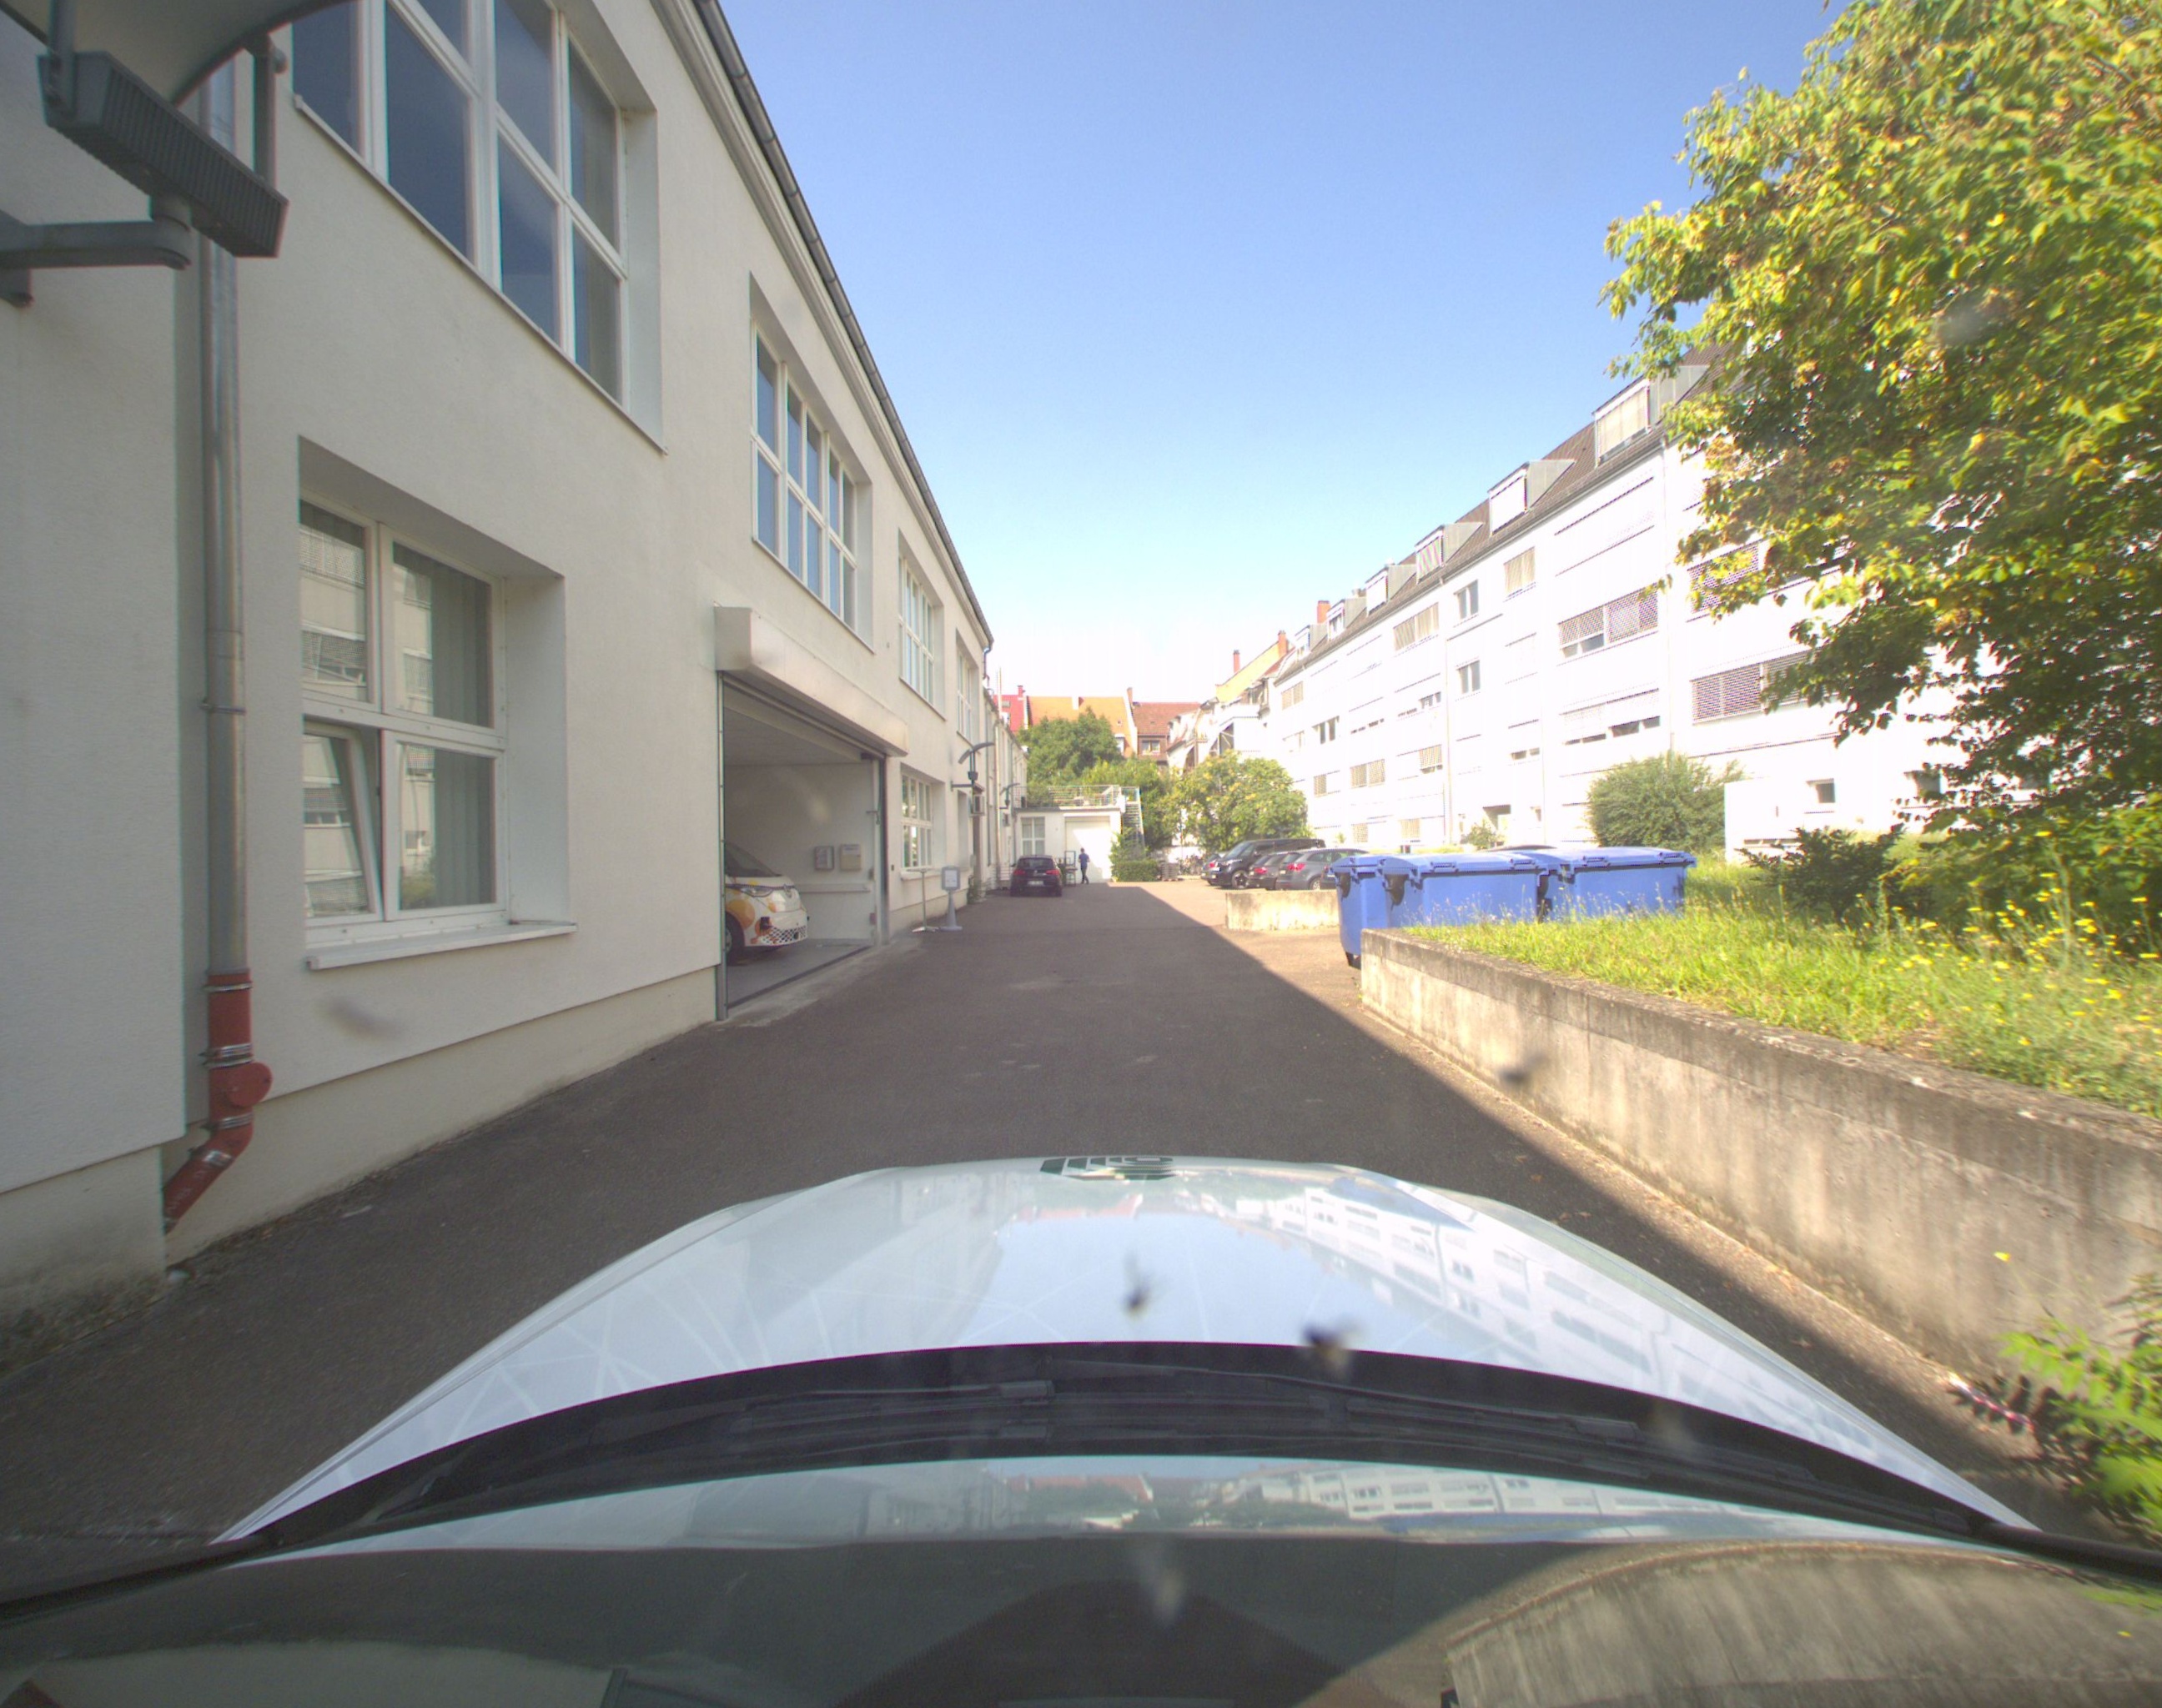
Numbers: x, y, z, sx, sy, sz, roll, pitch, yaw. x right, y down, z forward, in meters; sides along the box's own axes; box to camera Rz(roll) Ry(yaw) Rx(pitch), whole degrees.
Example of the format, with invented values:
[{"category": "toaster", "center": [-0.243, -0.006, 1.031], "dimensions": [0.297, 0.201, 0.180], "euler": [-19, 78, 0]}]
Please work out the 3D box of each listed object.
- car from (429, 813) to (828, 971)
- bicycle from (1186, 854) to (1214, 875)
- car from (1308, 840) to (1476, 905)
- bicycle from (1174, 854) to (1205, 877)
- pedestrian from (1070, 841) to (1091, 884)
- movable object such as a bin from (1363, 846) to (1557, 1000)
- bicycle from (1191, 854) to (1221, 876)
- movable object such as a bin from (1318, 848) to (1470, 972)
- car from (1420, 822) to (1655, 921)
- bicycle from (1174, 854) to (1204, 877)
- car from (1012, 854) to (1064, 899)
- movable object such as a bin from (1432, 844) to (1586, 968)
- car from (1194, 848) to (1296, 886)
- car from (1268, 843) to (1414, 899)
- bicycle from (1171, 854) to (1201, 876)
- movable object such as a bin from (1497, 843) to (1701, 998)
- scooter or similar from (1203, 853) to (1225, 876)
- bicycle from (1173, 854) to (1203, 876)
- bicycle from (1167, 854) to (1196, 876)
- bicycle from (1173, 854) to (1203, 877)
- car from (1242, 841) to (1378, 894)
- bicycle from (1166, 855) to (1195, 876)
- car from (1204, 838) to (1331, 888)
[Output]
[{"category": "car", "center": [-6.458, 0.527, 12.082], "dimensions": [4.731, 2.093, 2.055], "euler": [-1, -1, 0]}, {"category": "bicycle", "center": [7.190, 0.655, 49.135], "dimensions": [1.612, 1.214, 0.425], "euler": [-2, 0, 12]}, {"category": "car", "center": [8.304, 0.477, 21.908], "dimensions": [3.798, 1.589, 1.891], "euler": [-1, -1, -10]}, {"category": "bicycle", "center": [6.129, 0.641, 46.026], "dimensions": [1.617, 1.214, 0.327], "euler": [-2, 0, 1]}, {"category": "pedestrian", "center": [-0.018, 0.405, 39.149], "dimensions": [0.910, 2.014, 0.935], "euler": [-1, -1, 0]}, {"category": "movable object such as a bin", "center": [3.560, 0.617, 7.786], "dimensions": [1.306, 1.340, 1.099], "euler": [-1, -1, -3]}, {"category": "bicycle", "center": [7.143, 0.628, 46.673], "dimensions": [1.611, 1.214, 0.328], "euler": [-2, 0, 15]}, {"category": "movable object such as a bin", "center": [3.615, 0.617, 9.539], "dimensions": [1.296, 1.340, 1.194], "euler": [-1, -1, -1]}, {"category": "car", "center": [9.048, 0.345, 16.353], "dimensions": [3.609, 1.545, 1.801], "euler": [-5, -1, -2]}, {"category": "bicycle", "center": [6.059, 0.638, 45.705], "dimensions": [1.617, 1.214, 0.327], "euler": [-2, 0, 1]}, {"category": "car", "center": [-1.452, 0.775, 28.969], "dimensions": [1.683, 1.459, 3.921], "euler": [-1, -1, -1]}, {"category": "movable object such as a bin", "center": [4.936, 0.575, 9.501], "dimensions": [1.229, 1.340, 1.118], "euler": [-1, -1, 4]}, {"category": "car", "center": [7.015, 0.551, 35.016], "dimensions": [3.931, 1.482, 1.769], "euler": [-2, -1, -9]}, {"category": "car", "center": [7.957, 0.509, 25.111], "dimensions": [3.856, 1.589, 1.876], "euler": [-1, -1, -5]}, {"category": "bicycle", "center": [6.069, 0.654, 47.135], "dimensions": [1.612, 1.214, 0.328], "euler": [-2, 0, 13]}, {"category": "movable object such as a bin", "center": [4.887, 0.592, 7.783], "dimensions": [1.224, 1.340, 1.075], "euler": [-1, -1, -4]}, {"category": "scooter or similar", "center": [7.410, 0.615, 45.478], "dimensions": [0.381, 1.261, 1.335], "euler": [-2, 0, -31]}, {"category": "bicycle", "center": [6.143, 0.649, 46.771], "dimensions": [1.613, 1.214, 0.328], "euler": [-2, 0, 10]}, {"category": "bicycle", "center": [5.889, 0.666, 47.811], "dimensions": [1.618, 1.214, 0.424], "euler": [-2, 0, -1]}, {"category": "bicycle", "center": [6.103, 0.644, 46.320], "dimensions": [1.617, 1.214, 0.327], "euler": [-2, 0, 1]}, {"category": "car", "center": [7.792, 0.464, 27.931], "dimensions": [4.107, 1.692, 1.769], "euler": [-1, -1, -3]}, {"category": "bicycle", "center": [5.980, 0.678, 49.048], "dimensions": [1.620, 1.214, 0.423], "euler": [-2, 0, -5]}, {"category": "car", "center": [7.313, 0.353, 32.134], "dimensions": [4.499, 1.794, 1.877], "euler": [-2, -1, -9]}]
